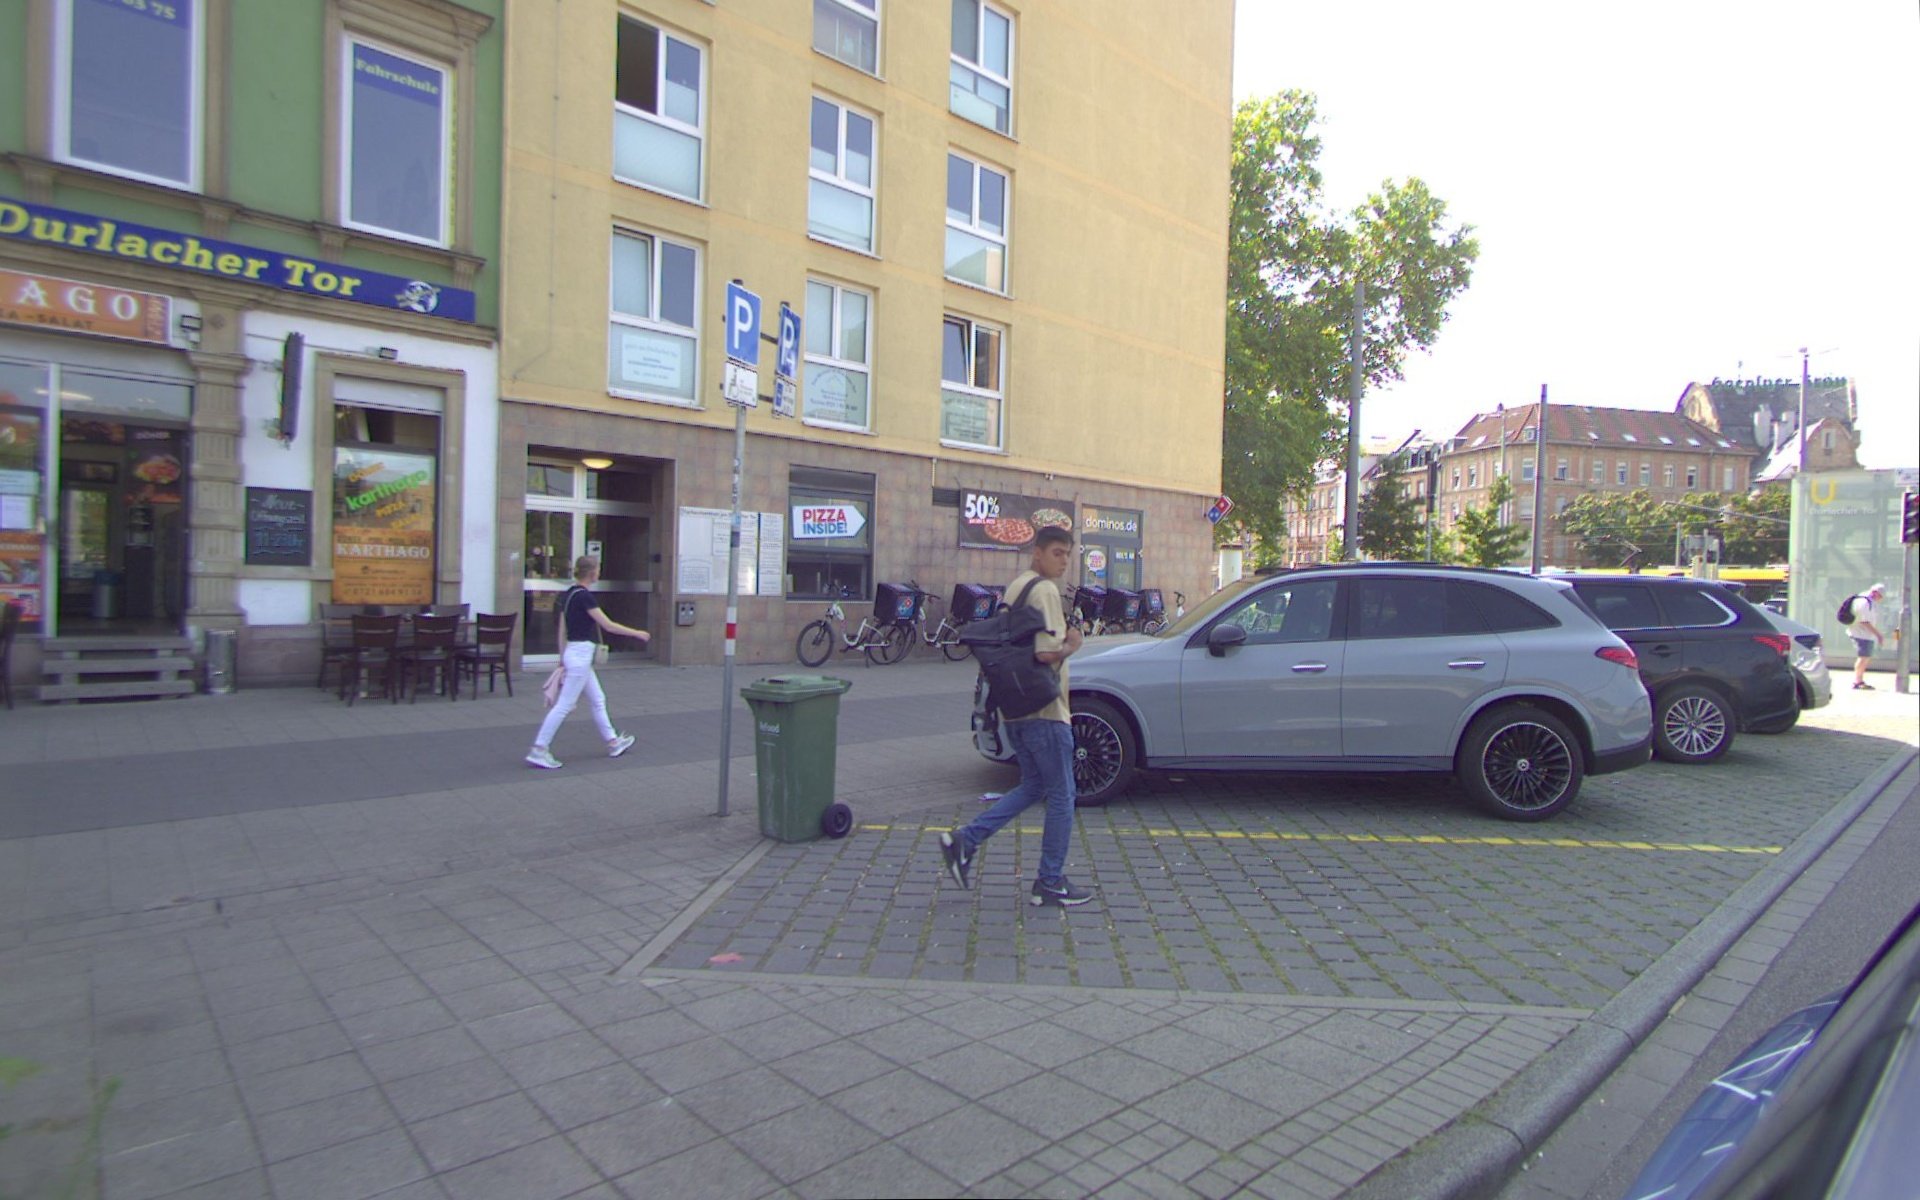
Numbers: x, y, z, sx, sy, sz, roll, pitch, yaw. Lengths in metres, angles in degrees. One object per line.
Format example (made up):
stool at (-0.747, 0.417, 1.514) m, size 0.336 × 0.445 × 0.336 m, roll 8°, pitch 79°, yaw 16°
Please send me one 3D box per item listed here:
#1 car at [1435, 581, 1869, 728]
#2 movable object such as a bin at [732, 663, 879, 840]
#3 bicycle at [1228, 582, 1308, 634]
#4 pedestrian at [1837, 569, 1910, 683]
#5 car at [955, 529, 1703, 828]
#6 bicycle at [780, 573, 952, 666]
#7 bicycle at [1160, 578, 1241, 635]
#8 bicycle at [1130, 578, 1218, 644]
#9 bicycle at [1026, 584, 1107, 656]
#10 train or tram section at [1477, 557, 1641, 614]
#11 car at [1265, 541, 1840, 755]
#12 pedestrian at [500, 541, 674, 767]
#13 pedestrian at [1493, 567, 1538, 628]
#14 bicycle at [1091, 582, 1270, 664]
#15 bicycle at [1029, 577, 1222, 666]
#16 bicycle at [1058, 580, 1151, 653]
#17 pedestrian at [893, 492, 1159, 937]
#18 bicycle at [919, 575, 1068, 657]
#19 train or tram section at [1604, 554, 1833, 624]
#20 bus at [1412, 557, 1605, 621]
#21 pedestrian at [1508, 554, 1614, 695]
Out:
car at (7.804, 0.578, 11.789) m, size 3.722 × 1.519 × 1.803 m, roll 0°, pitch -1°, yaw 8°
movable object such as a bin at (-0.914, 0.859, 6.012) m, size 0.688 × 0.928 × 0.537 m, roll 1°, pitch -2°, yaw -45°
bicycle at (7.869, 0.186, 25.794) m, size 2.393 × 1.254 × 0.793 m, roll 0°, pitch 1°, yaw -42°
pedestrian at (15.263, 0.416, 16.914) m, size 0.800 × 1.831 × 0.820 m, roll 1°, pitch 0°, yaw -41°
car at (2.375, 0.442, 7.528) m, size 4.586 × 1.735 × 2.040 m, roll 2°, pitch 1°, yaw 7°
bicycle at (-1.361, 0.273, 14.958) m, size 2.378 × 1.254 × 0.941 m, roll 1°, pitch 1°, yaw -39°
bicycle at (5.508, 0.135, 23.222) m, size 1.721 × 1.221 × 0.580 m, roll 3°, pitch 1°, yaw 42°
bicycle at (4.334, 0.220, 20.431) m, size 1.927 × 1.262 × 0.729 m, roll 1°, pitch 1°, yaw -43°
bicycle at (1.972, 0.349, 18.546) m, size 1.797 × 1.254 × 0.409 m, roll 1°, pitch 1°, yaw -44°
train or tram section at (41.754, -1.117, 71.323) m, size 2.542 × 3.604 × 12.240 m, roll 2°, pitch 1°, yaw -10°
car at (5.400, 0.371, 9.844) m, size 4.318 × 1.708 × 1.983 m, roll 2°, pitch 1°, yaw 7°
pedestrian at (-2.842, 0.368, 7.783) m, size 0.840 × 1.601 × 0.966 m, roll 2°, pitch 1°, yaw 15°
pedestrian at (15.284, -0.090, 27.852) m, size 0.934 × 1.628 × 0.791 m, roll 0°, pitch 2°, yaw -45°
bicycle at (4.287, 0.420, 19.866) m, size 3.313 × 1.422 × 0.901 m, roll 2°, pitch 1°, yaw 13°
bicycle at (2.969, 0.349, 18.240) m, size 3.313 × 1.422 × 0.901 m, roll 2°, pitch 1°, yaw 13°
bicycle at (2.592, 0.292, 18.187) m, size 1.513 × 1.254 × 0.593 m, roll 2°, pitch 1°, yaw -9°
pedestrian at (0.303, 0.471, 4.659) m, size 0.857 × 1.774 × 0.867 m, roll 3°, pitch -3°, yaw -41°
bicycle at (0.581, 0.252, 16.635) m, size 2.378 × 1.254 × 0.941 m, roll 1°, pitch 1°, yaw -39°
train or tram section at (43.771, -0.760, 59.259) m, size 2.542 × 3.604 × 12.240 m, roll 2°, pitch 1°, yaw -10°
bus at (29.958, -0.677, 56.297) m, size 2.678 × 3.102 × 12.102 m, roll 2°, pitch 1°, yaw -8°
pedestrian at (7.666, 0.290, 12.962) m, size 1.026 × 1.726 × 0.897 m, roll 1°, pitch 0°, yaw 22°
